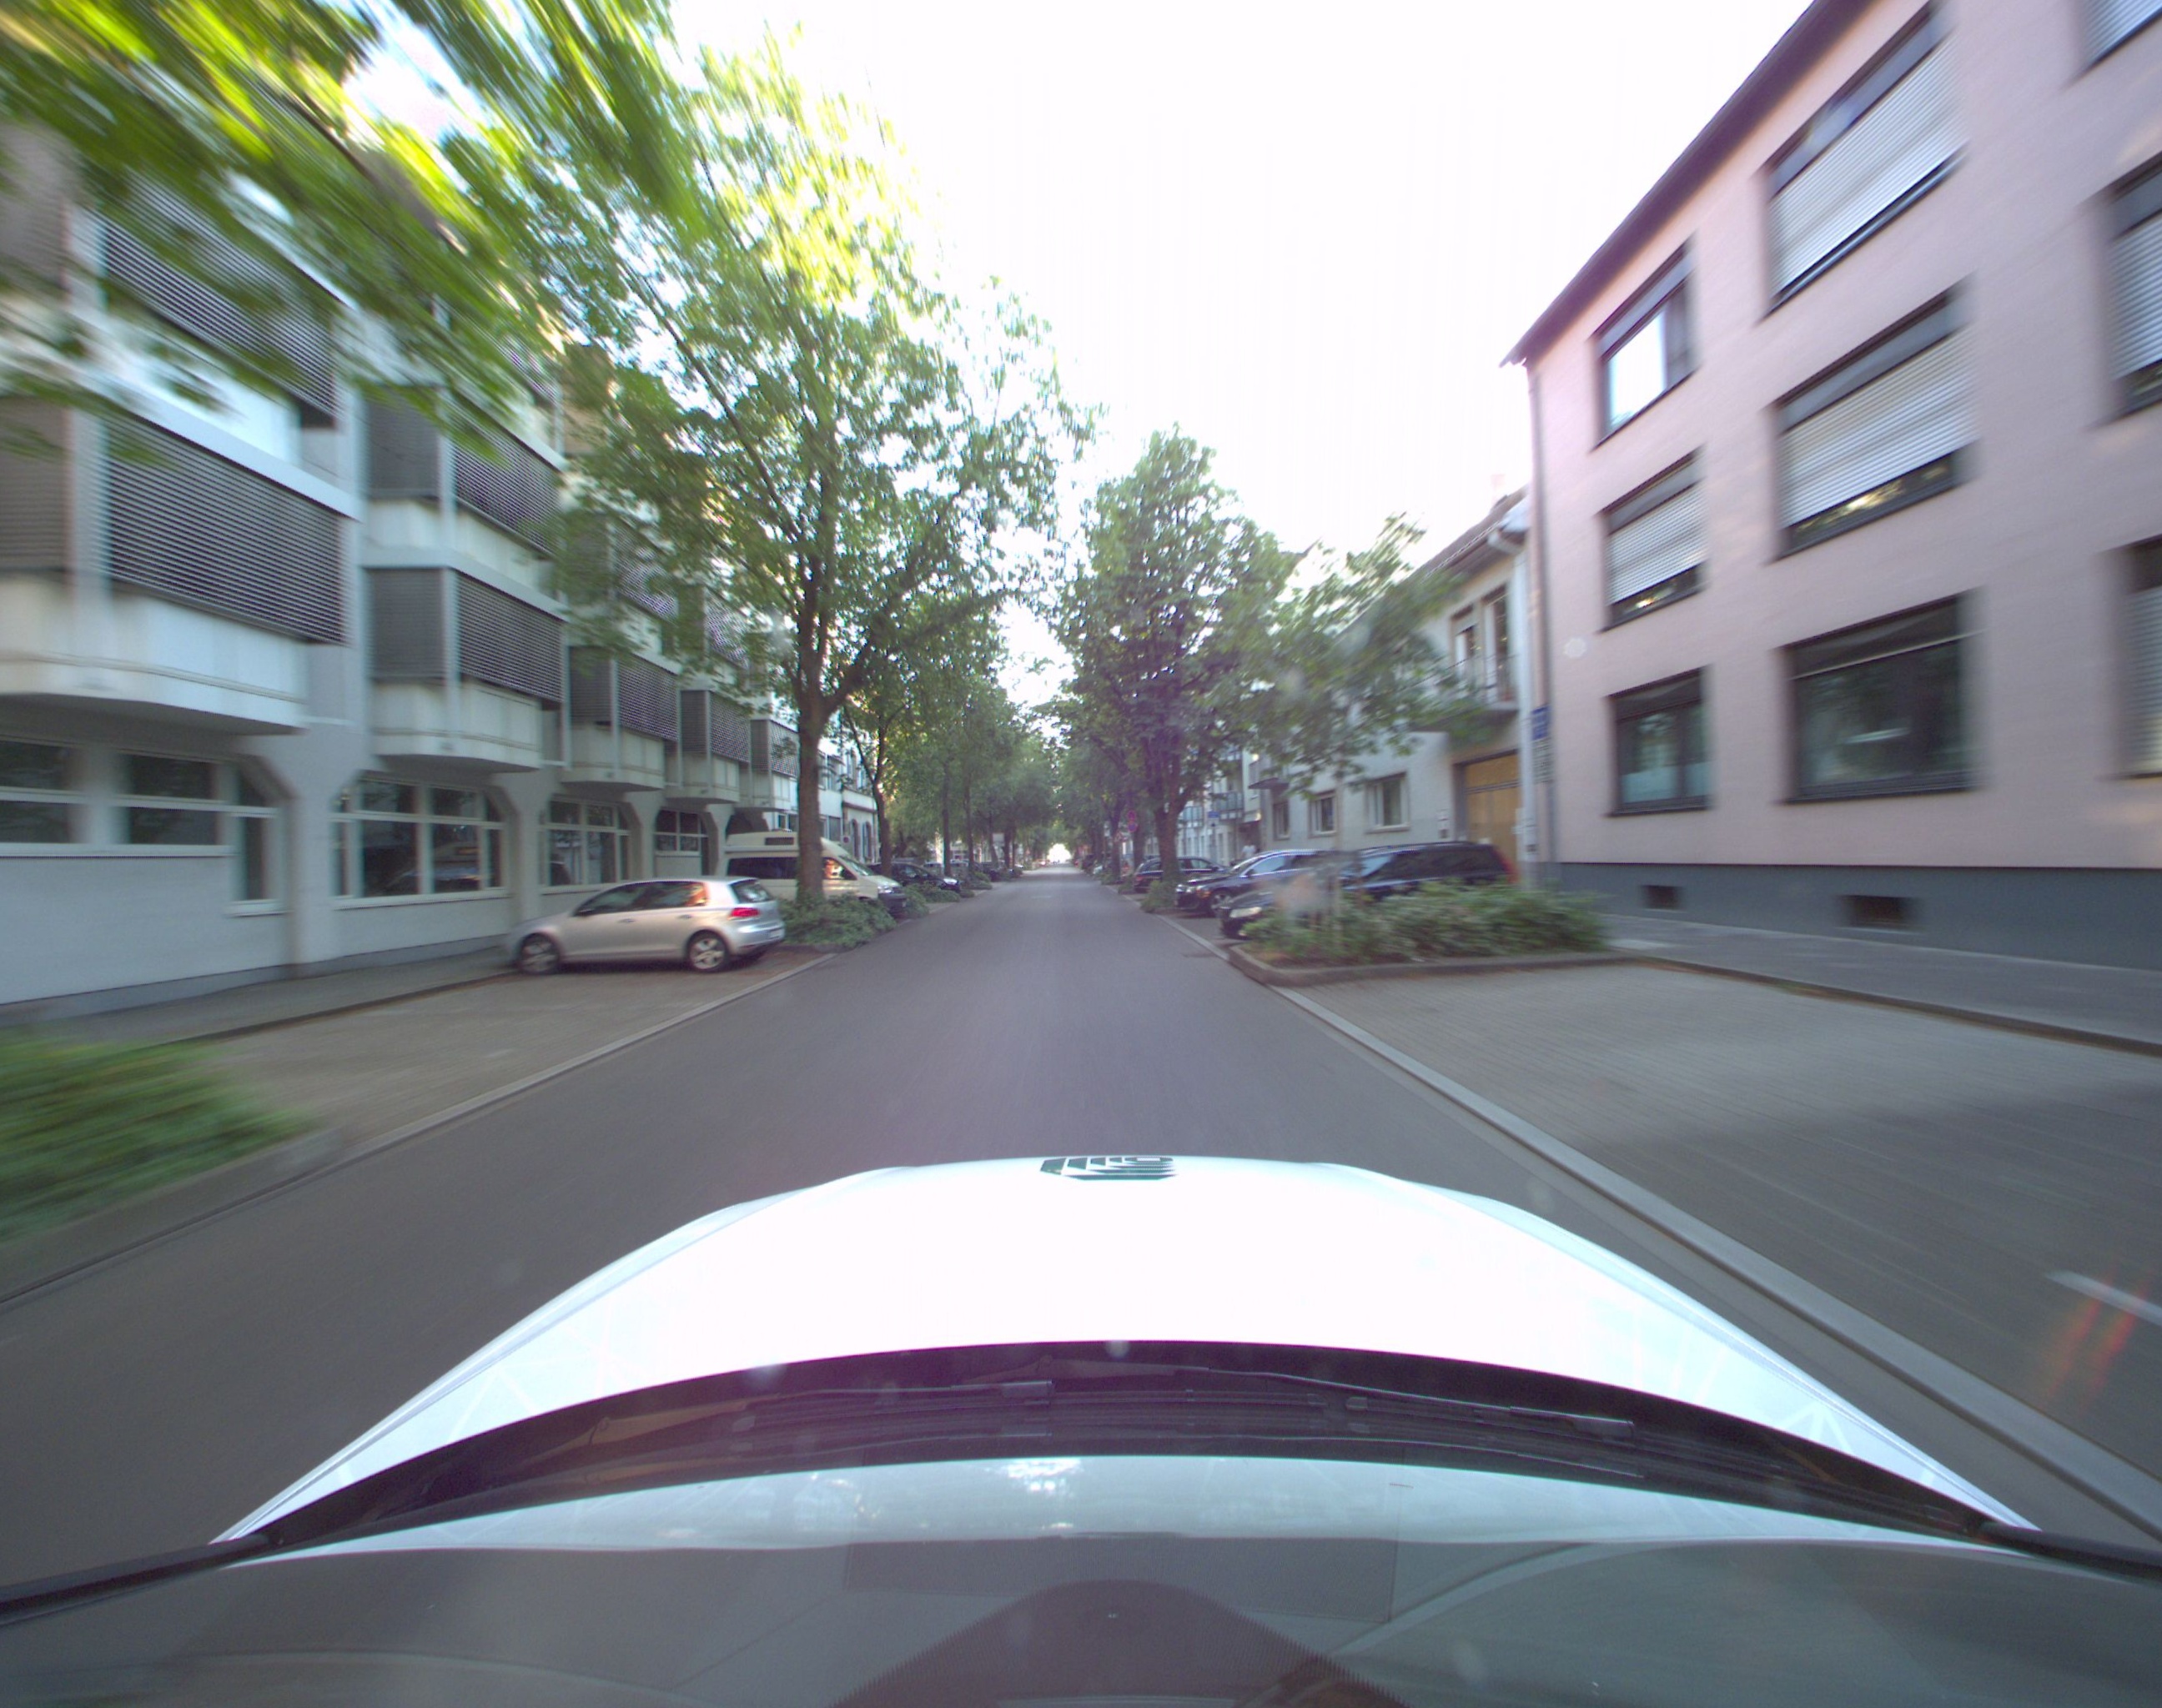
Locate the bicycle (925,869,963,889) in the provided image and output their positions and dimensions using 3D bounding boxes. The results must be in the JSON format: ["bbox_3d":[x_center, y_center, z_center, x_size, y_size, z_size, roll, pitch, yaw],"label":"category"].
[{"bbox_3d":[-6.071,1.102,36.087,1.547,0.830,0.613,-2,-1,1],"label":"bicycle"}]

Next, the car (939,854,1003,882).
[{"bbox_3d":[-8.188,1.053,60.846,4.495,1.955,1.998,-1,-1,-4],"label":"car"}]

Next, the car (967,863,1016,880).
[{"bbox_3d":[-8.059,1.557,73.743,4.276,1.430,1.878,-2,0,-2],"label":"car"}]

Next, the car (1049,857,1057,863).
[{"bbox_3d":[-8.002,1.703,232.440,2.005,1.613,4.115,-1,0,-3],"label":"car"}]

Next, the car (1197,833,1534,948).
[{"bbox_3d":[4.503,0.562,13.495,4.824,1.448,2.042,-4,0,0],"label":"car"}]

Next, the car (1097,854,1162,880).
[{"bbox_3d":[3.291,0.891,56.011,4.080,1.451,1.930,-5,0,-7],"label":"car"}]

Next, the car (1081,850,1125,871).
[{"bbox_3d":[2.349,0.713,87.959,4.590,2.066,2.195,-2,0,-3],"label":"car"}]

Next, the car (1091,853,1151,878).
[{"bbox_3d":[3.259,0.907,67.207,4.636,1.617,2.006,-5,0,-6],"label":"car"}]

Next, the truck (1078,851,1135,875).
[{"bbox_3d":[2.641,0.986,85.224,5.871,2.311,2.211,-2,-1,-2],"label":"truck"}]

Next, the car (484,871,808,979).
[{"bbox_3d":[-6.887,1.085,13.277,4.156,1.468,1.952,-2,0,-1],"label":"car"}]

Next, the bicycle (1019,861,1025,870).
[{"bbox_3d":[-8.164,1.617,112.943,0.682,1.152,1.976,-2,0,-7],"label":"bicycle"}]

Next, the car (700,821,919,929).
[{"bbox_3d":[-7.018,0.516,21.514,4.990,2.573,2.119,-2,0,-2],"label":"car"}]

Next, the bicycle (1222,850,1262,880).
[{"bbox_3d":[6.743,0.456,34.337,0.620,1.164,3.392,-2,0,-7],"label":"bicycle"}]

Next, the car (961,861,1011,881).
[{"bbox_3d":[-8.291,1.483,71.106,3.970,1.566,1.931,-2,0,3],"label":"car"}]

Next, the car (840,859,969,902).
[{"bbox_3d":[-7.258,1.067,33.915,4.839,1.622,2.159,-2,-1,-1],"label":"car"}]

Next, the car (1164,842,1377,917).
[{"bbox_3d":[4.514,0.597,19.938,4.664,1.388,2.000,-5,0,-1],"label":"car"}]

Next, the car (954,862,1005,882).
[{"bbox_3d":[-8.215,1.482,66.062,3.978,1.464,1.920,-2,0,-4],"label":"car"}]

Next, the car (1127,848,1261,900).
[{"bbox_3d":[3.910,0.692,28.787,4.441,1.427,2.012,-5,-1,2],"label":"car"}]

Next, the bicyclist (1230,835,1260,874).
[{"bbox_3d":[6.955,0.020,34.566,0.968,1.604,1.135,-2,-1,-2],"label":"bicyclist"}]

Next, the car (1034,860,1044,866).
[{"bbox_3d":[-8.934,1.921,172.261,1.991,1.288,3.992,-2,0,-6],"label":"car"}]

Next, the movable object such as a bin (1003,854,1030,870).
[{"bbox_3d":[-10.130,1.211,127.406,4.043,2.383,2.777,-2,0,-8],"label":"movable object such as a bin"}]

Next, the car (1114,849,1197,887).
[{"bbox_3d":[3.792,0.717,41.981,3.960,1.585,1.914,-4,0,-3],"label":"car"}]

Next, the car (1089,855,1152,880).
[{"bbox_3d":[2.959,1.011,61.868,4.589,1.468,1.794,-5,0,-3],"label":"car"}]

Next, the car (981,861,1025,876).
[{"bbox_3d":[-8.540,1.578,89.602,4.603,1.552,2.075,-1,-1,0],"label":"car"}]
